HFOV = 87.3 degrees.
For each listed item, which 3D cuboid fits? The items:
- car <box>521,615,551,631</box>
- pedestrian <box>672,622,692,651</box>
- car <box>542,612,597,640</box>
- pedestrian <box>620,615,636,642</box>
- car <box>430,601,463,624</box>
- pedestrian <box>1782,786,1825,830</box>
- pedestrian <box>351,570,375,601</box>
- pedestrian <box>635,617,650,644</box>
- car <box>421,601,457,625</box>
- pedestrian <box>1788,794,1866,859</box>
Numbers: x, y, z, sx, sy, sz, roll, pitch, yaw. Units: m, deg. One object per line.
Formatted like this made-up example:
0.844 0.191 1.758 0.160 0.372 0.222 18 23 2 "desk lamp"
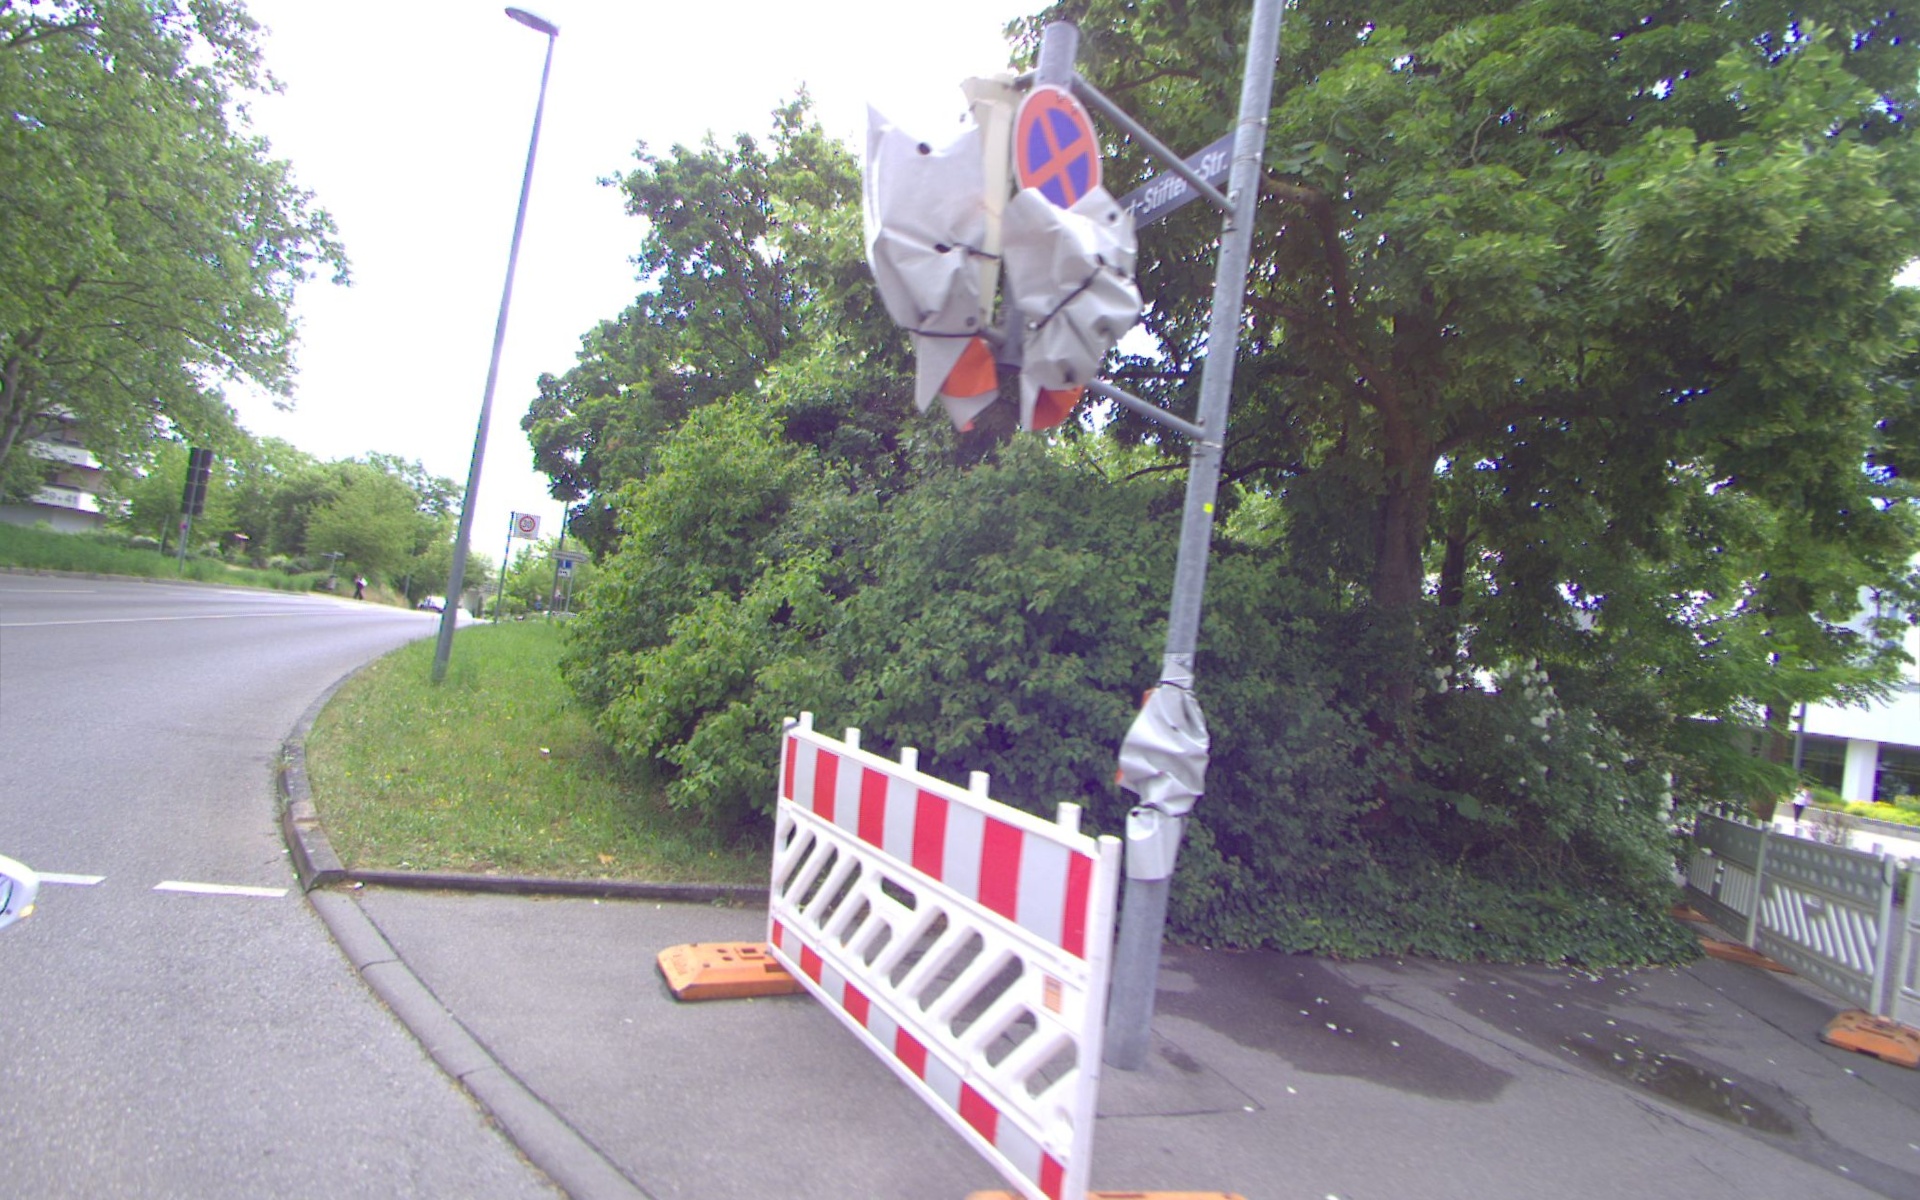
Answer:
-57.686 3.133 136.982 3.512 1.671 1.613 10 -5 -26 "car"
-16.099 2.115 58.262 0.764 1.614 0.822 8 -1 -8 "pedestrian"
-31.297 2.100 80.693 3.879 1.646 1.768 9 -6 -18 "car"
-23.373 2.005 70.866 0.765 1.742 0.821 9 -2 -15 "pedestrian"
-40.503 1.013 79.432 1.748 1.516 3.920 9 -4 -21 "car"
28.809 7.089 34.374 0.871 1.288 0.704 8 -2 31 "pedestrian"
-36.622 -0.888 61.705 0.765 1.742 0.821 7 -2 36 "pedestrian"
-22.562 2.159 71.476 0.792 1.742 0.820 9 -2 -17 "pedestrian"
-38.744 0.975 74.891 1.748 1.516 3.919 9 -4 -21 "car"
14.470 3.776 16.789 0.687 0.873 0.649 9 -1 -18 "pedestrian"
